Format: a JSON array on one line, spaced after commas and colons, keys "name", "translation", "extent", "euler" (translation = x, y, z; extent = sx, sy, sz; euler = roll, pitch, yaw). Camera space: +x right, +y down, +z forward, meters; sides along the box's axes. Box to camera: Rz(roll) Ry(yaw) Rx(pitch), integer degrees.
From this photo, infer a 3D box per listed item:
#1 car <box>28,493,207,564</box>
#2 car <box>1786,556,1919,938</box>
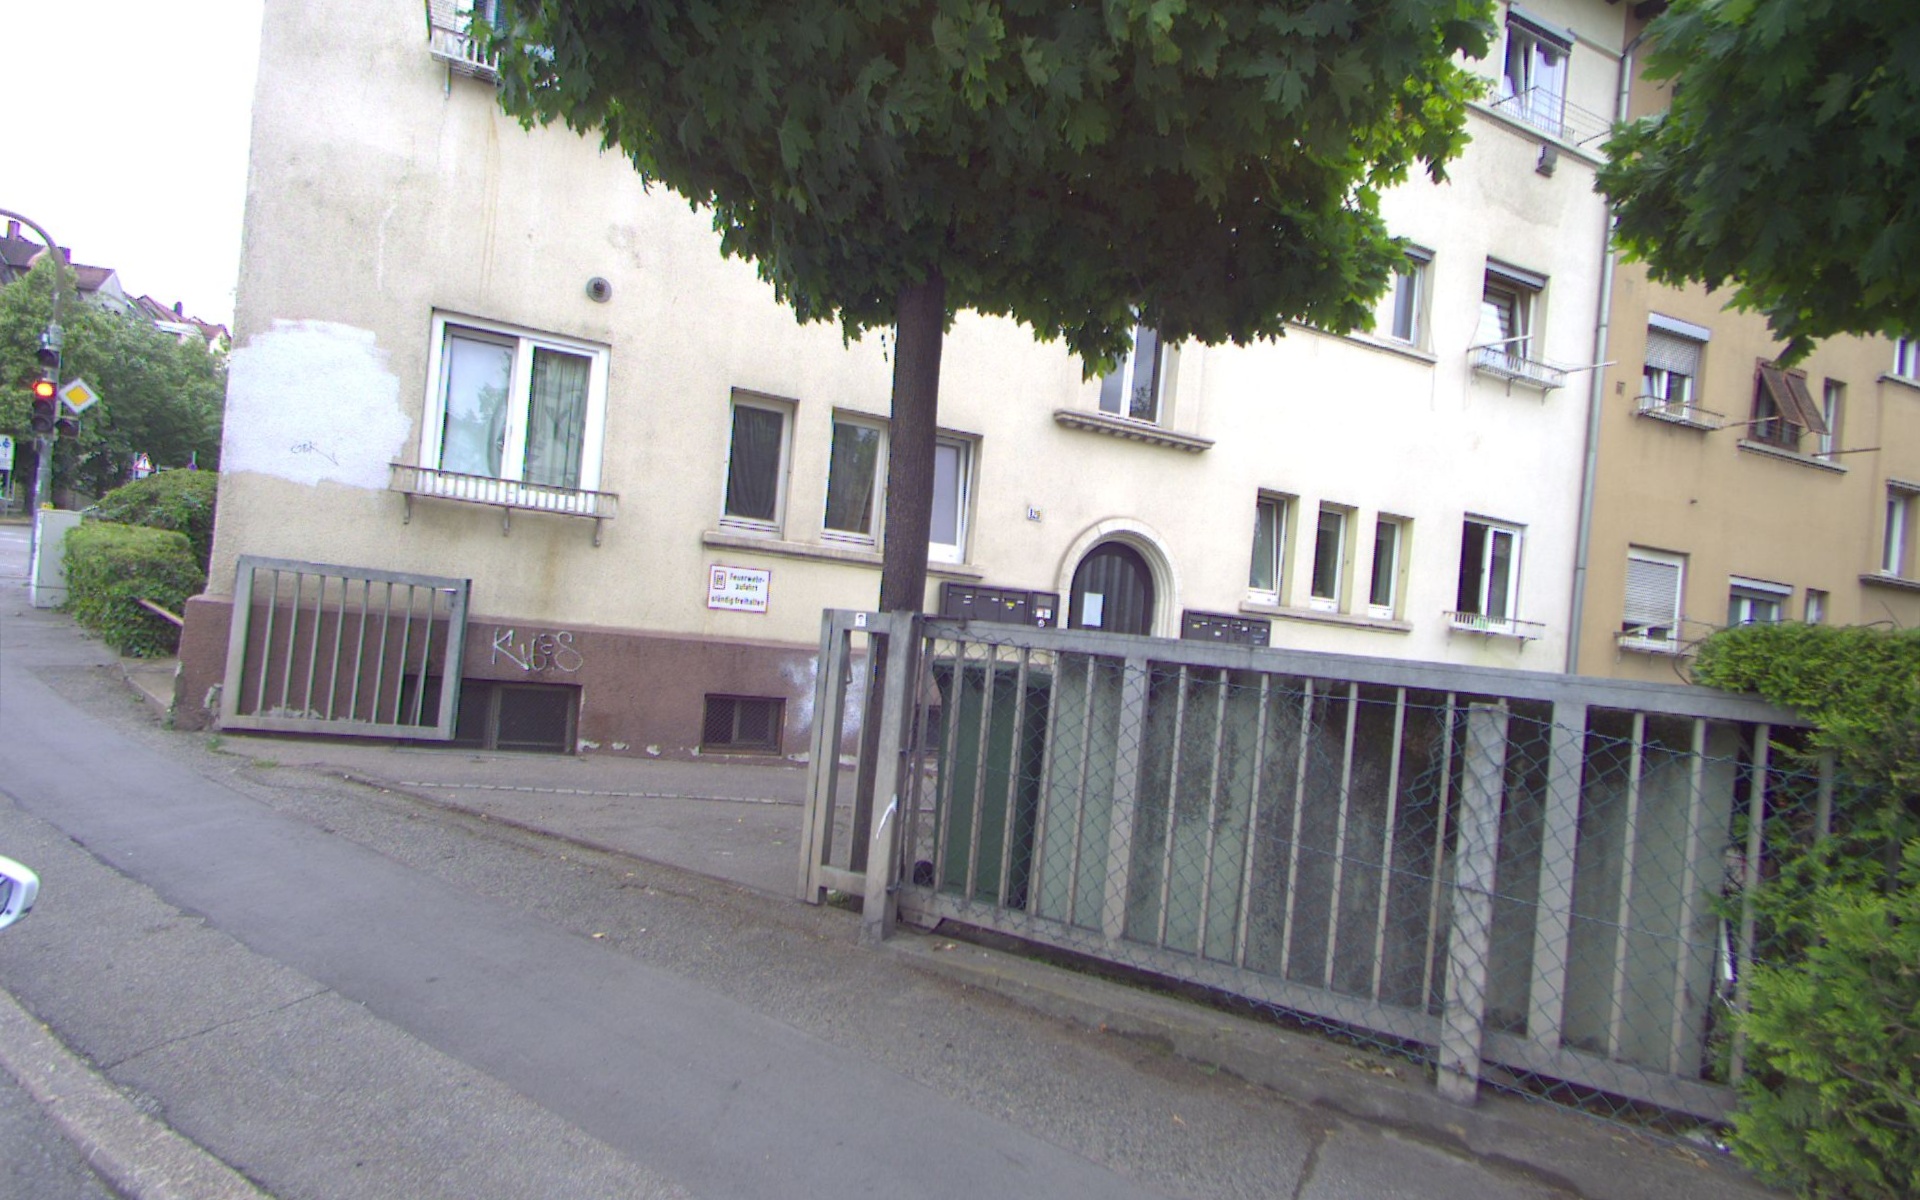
[{"name": "car", "translation": [-27.750, -2.329, 33.253], "extent": [3.931, 1.547, 1.999], "euler": [9, -2, -6]}, {"name": "car", "translation": [5.539, 0.788, 3.782], "extent": [3.381, 1.477, 1.700], "euler": [6, -2, 30]}]
